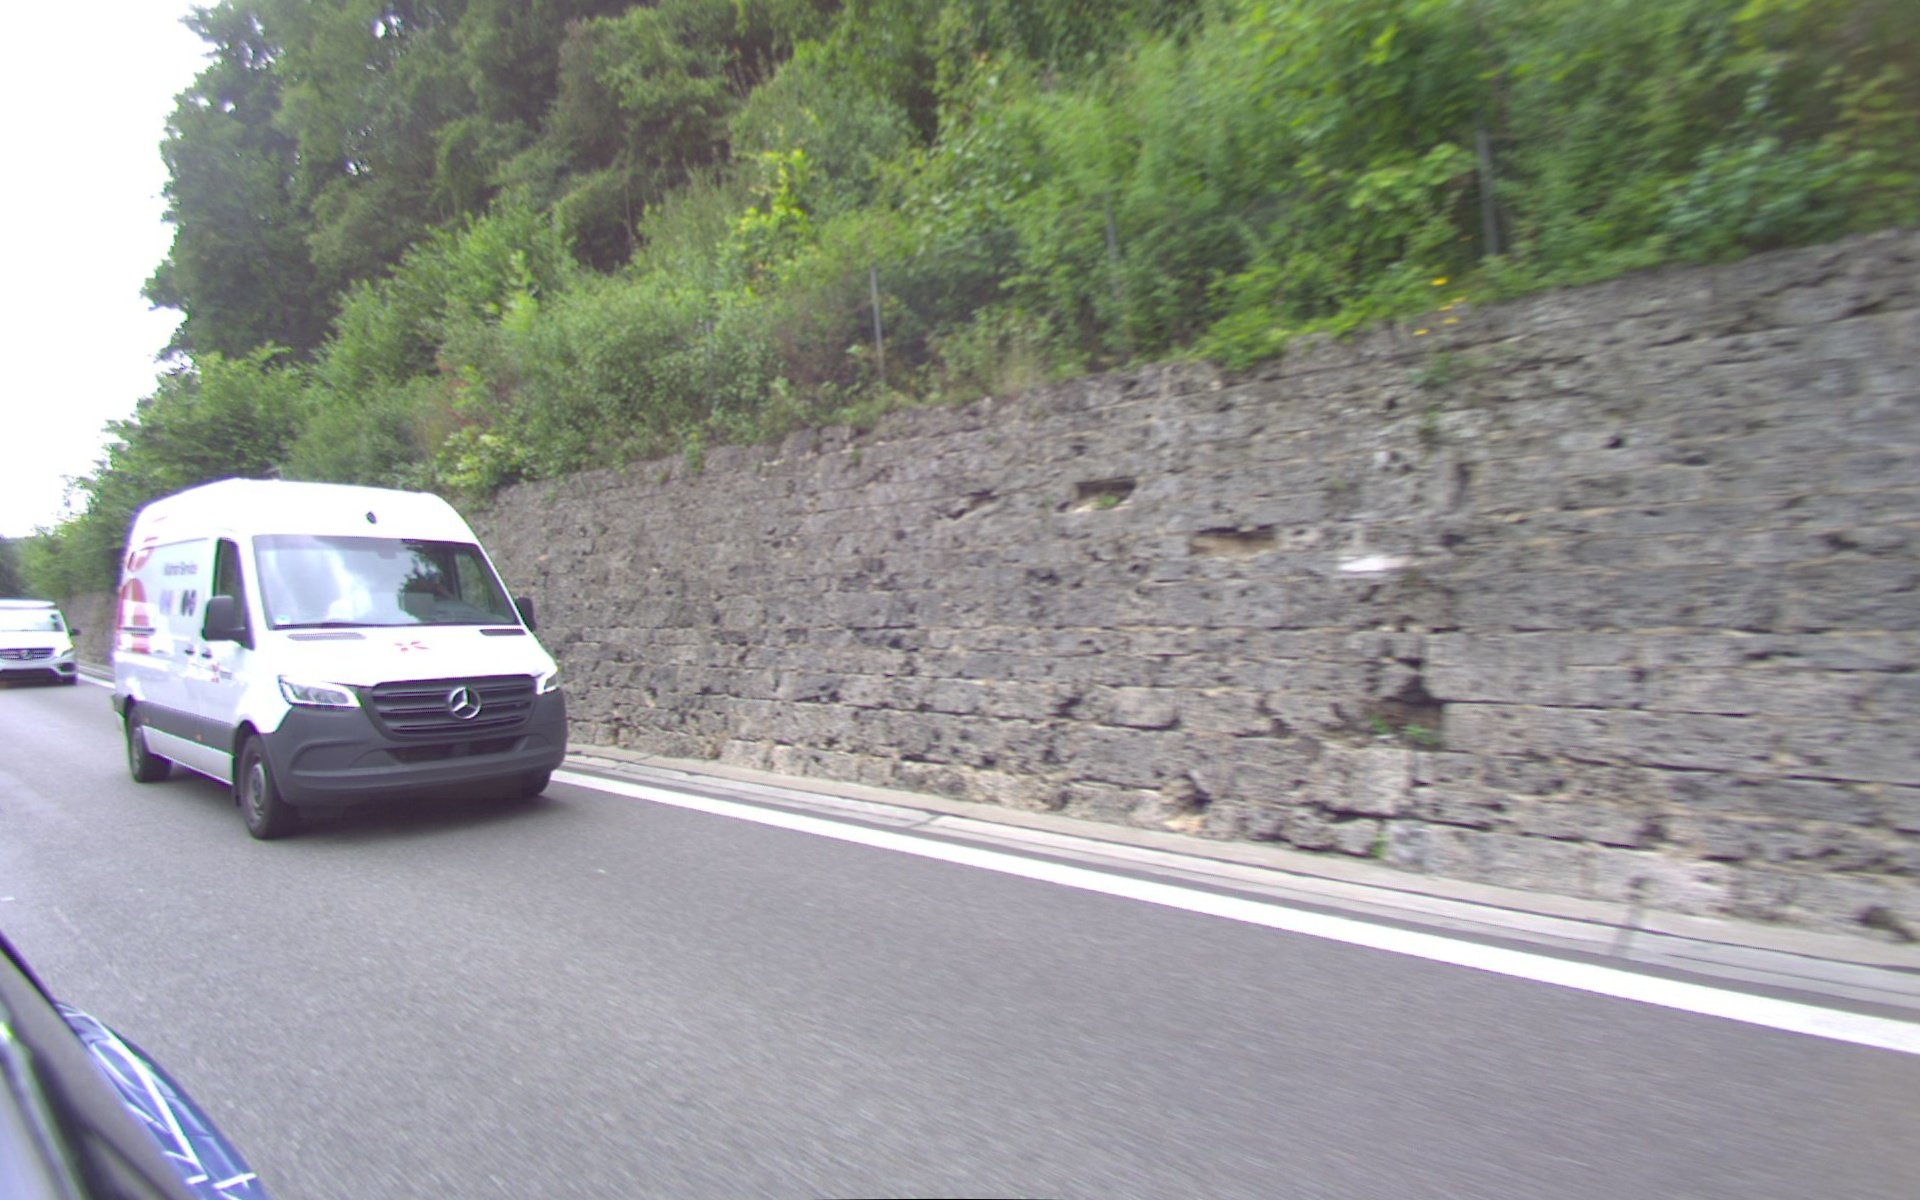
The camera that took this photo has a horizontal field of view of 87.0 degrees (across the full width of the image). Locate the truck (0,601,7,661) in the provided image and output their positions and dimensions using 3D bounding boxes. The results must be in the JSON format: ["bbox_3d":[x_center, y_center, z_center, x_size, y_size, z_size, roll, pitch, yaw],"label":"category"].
[{"bbox_3d":[-39.556,1.273,40.458,1.970,2.297,6.592,-2,1,-43],"label":"truck"}]

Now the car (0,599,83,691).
[{"bbox_3d":[-22.775,1.036,24.280,6.148,1.967,1.972,-1,1,43],"label":"car"}]

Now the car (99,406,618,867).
[{"bbox_3d":[-5.443,0.226,8.575,6.273,2.605,2.004,-1,0,42],"label":"car"}]
